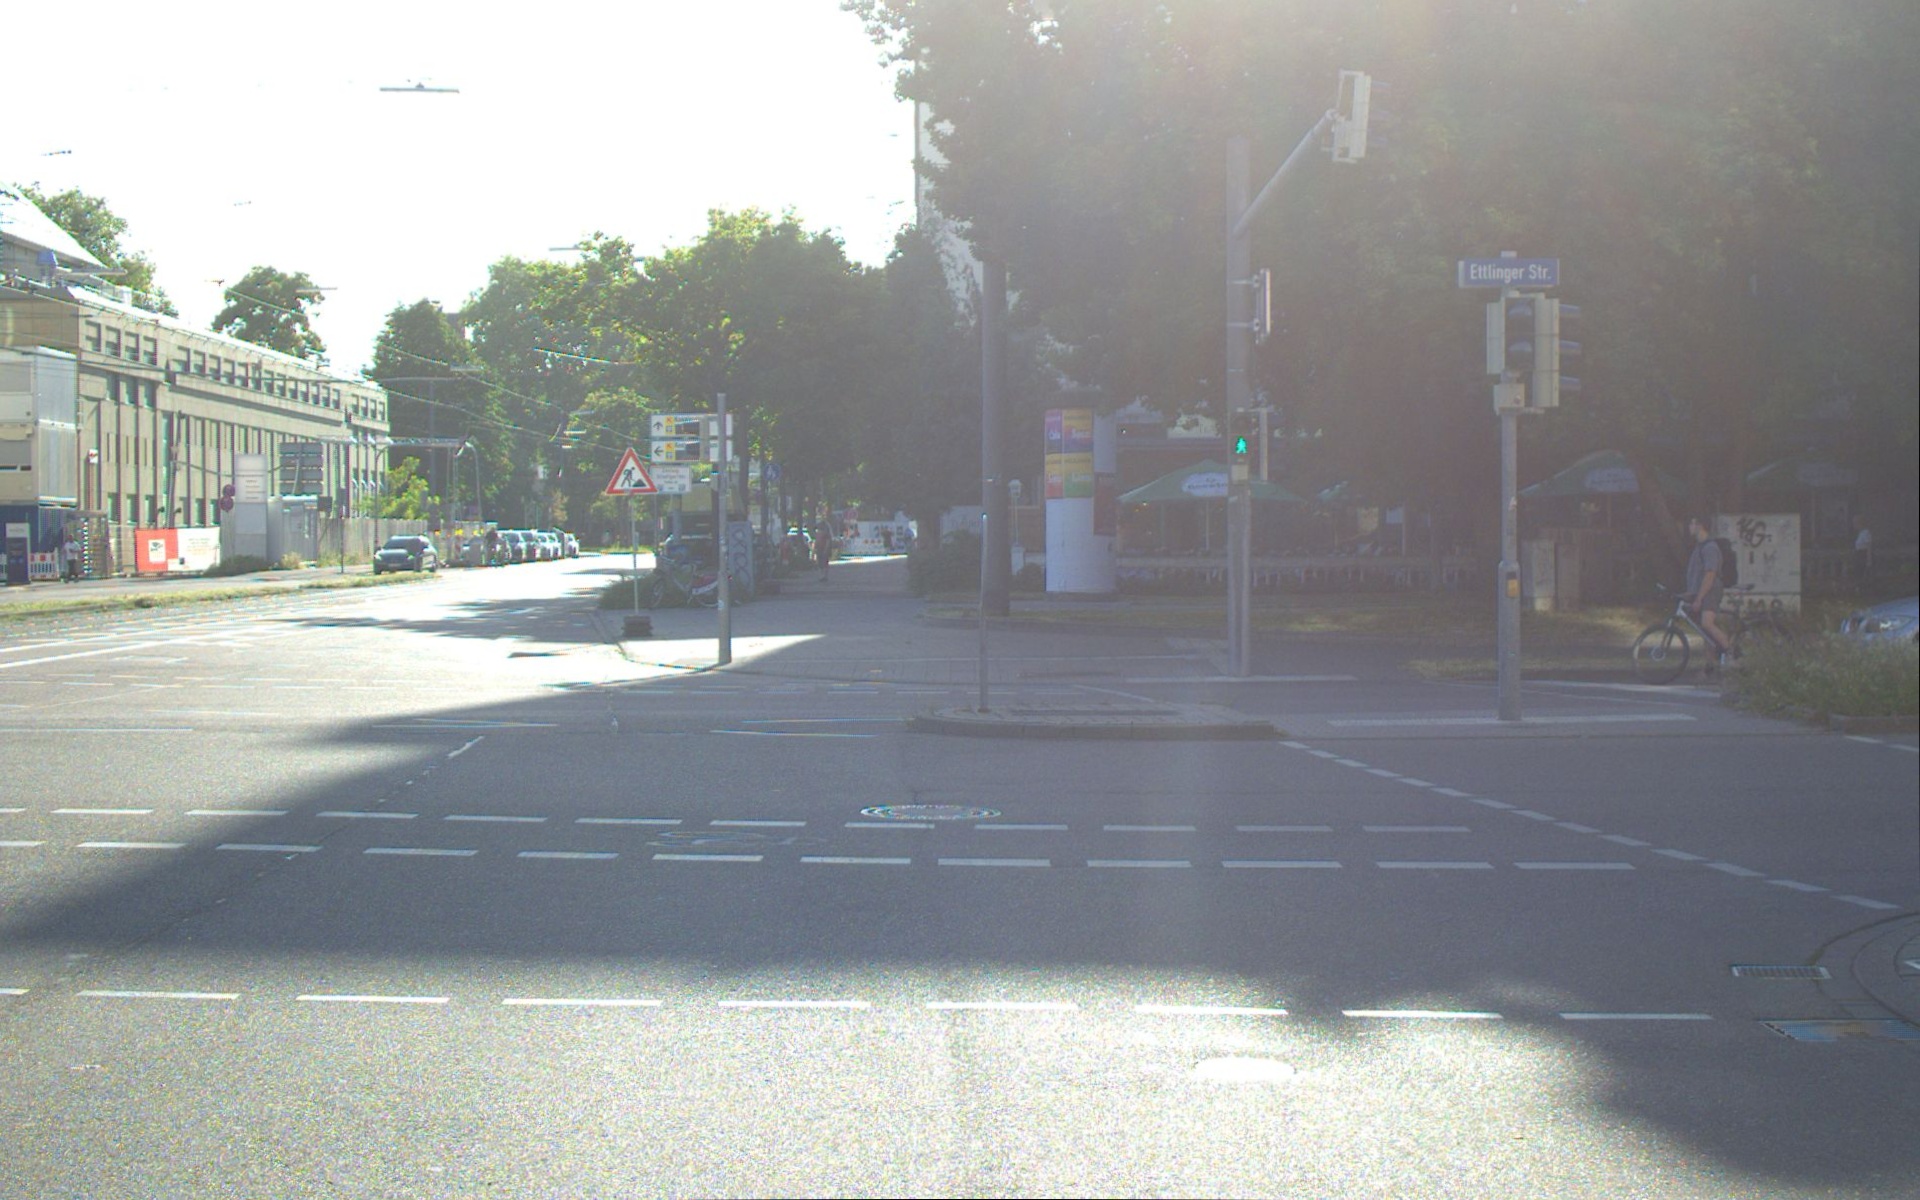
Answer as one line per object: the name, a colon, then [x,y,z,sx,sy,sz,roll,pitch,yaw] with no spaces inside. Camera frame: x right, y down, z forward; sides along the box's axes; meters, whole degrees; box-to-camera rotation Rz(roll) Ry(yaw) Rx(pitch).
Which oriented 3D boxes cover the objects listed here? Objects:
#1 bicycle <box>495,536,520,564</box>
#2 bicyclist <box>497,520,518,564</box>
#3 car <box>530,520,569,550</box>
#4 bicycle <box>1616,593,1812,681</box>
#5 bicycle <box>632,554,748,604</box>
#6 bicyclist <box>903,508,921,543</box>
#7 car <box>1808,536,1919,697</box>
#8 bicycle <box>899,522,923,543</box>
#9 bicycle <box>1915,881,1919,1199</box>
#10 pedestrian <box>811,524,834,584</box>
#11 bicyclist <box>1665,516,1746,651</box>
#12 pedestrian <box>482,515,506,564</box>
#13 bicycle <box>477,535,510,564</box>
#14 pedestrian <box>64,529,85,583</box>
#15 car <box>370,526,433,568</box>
bicycle: [-20.022,-2.218,152.252,0.750,1.201,3.108,1,1,-2]
bicyclist: [-20.023,-2.575,152.129,0.750,1.913,1.215,1,0,-2]
car: [-23.248,-3.667,194.697,1.993,1.638,4.001,-1,1,-4]
bicycle: [7.969,0.386,36.385,1.944,0.886,0.718,1,0,6]
bicycle: [-5.274,-0.416,67.213,2.244,0.937,0.654,-1,1,-5]
bicyclist: [-2.793,-4.339,200.371,0.890,2.007,0.749,1,0,-12]
car: [10.833,0.173,33.578,4.576,1.511,2.000,1,1,0]
bicycle: [-2.854,-3.944,200.709,0.890,1.215,2.794,1,1,-12]
bicycle: [1.817,0.967,4.446,0.623,1.040,1.747,0,1,-2]
pedestrian: [-3.902,-1.315,97.609,0.576,1.683,0.585,-1,1,-8]
bicyclist: [7.887,-0.177,36.384,0.747,1.401,0.702,1,0,6]
pedestrian: [-19.810,-2.581,146.212,0.751,2.056,1.050,1,0,5]
bicycle: [-19.826,-2.155,146.153,0.751,1.201,3.107,1,1,5]
pedestrian: [-31.067,-1.530,120.614,0.588,1.883,0.478,1,0,-1]
car: [-22.031,-2.117,135.756,1.993,1.593,4.001,-1,1,-3]
